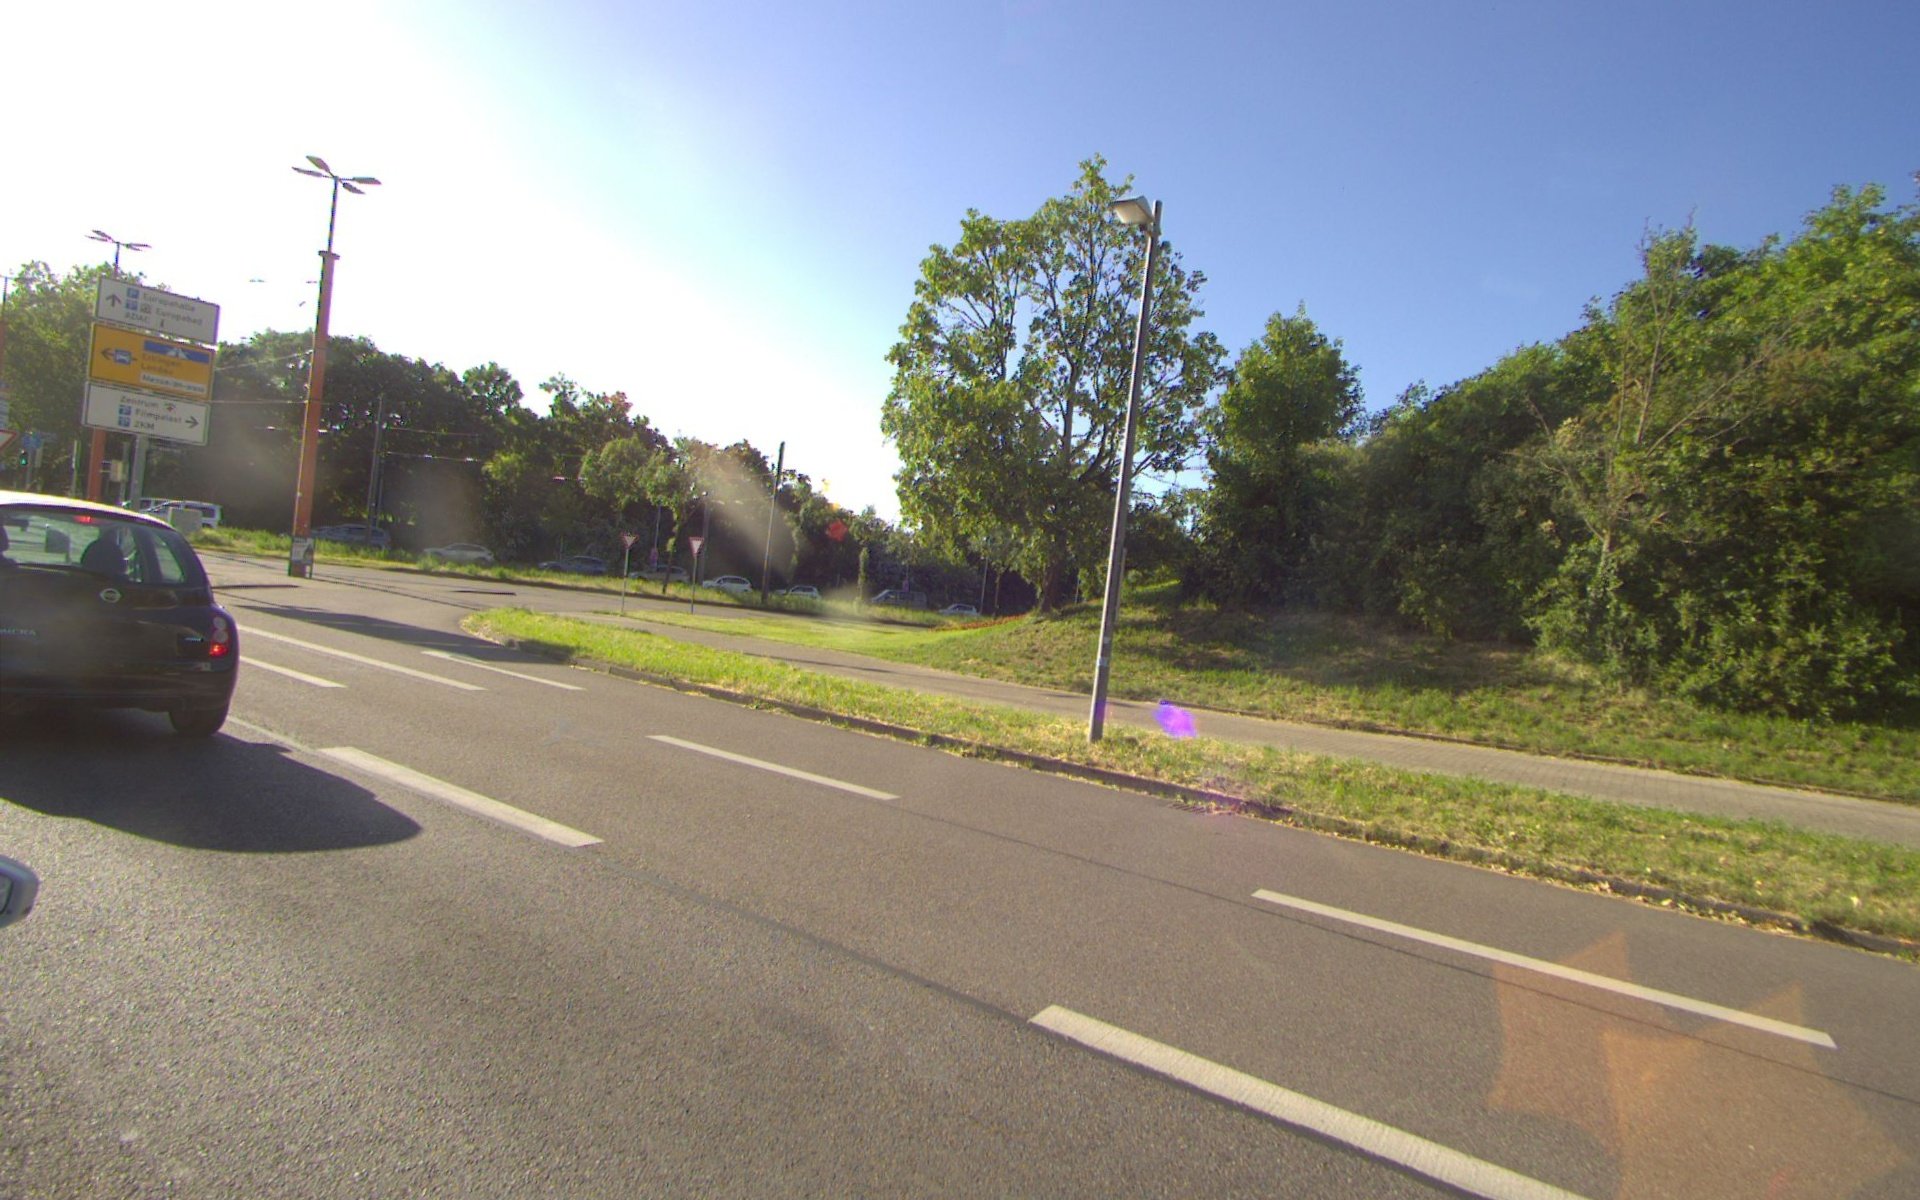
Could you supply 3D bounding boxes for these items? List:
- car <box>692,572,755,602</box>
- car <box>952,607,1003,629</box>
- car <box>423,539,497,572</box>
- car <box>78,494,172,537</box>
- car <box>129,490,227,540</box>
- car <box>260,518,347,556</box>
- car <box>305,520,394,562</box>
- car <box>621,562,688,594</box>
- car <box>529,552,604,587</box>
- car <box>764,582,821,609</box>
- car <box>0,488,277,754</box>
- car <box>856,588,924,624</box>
[{"bbox_3d":[-16.174,-0.857,68.862,3.789,1.541,1.683,7,0,-29],"label":"car"},{"bbox_3d":[1.449,1.516,83.088,3.803,1.278,1.590,9,-2,-32],"label":"car"},{"bbox_3d":[-31.315,-2.773,63.013,3.938,1.458,1.673,9,-2,-32],"label":"car"},{"bbox_3d":[-45.293,-4.543,54.664,3.619,1.674,1.666,9,-2,-33],"label":"car"},{"bbox_3d":[-41.448,-4.476,53.415,3.810,1.912,1.748,9,-2,-34],"label":"car"},{"bbox_3d":[-38.428,-3.658,58.990,4.094,1.528,1.808,9,-2,-32],"label":"car"},{"bbox_3d":[-34.777,-3.322,57.405,4.151,1.663,1.746,9,-2,-32],"label":"car"},{"bbox_3d":[-21.270,-1.537,70.016,4.087,1.664,1.839,7,0,-29],"label":"car"},{"bbox_3d":[-24.879,-1.912,63.581,4.089,1.617,1.815,7,0,-31],"label":"car"},{"bbox_3d":[-12.410,-0.314,74.512,3.707,1.491,1.588,7,0,-31],"label":"car"},{"bbox_3d":[-6.677,0.005,7.132,3.555,1.518,1.656,7,-1,33],"label":"car"},{"bbox_3d":[-5.226,0.457,75.288,4.535,2.038,1.985,7,0,-30],"label":"car"}]
